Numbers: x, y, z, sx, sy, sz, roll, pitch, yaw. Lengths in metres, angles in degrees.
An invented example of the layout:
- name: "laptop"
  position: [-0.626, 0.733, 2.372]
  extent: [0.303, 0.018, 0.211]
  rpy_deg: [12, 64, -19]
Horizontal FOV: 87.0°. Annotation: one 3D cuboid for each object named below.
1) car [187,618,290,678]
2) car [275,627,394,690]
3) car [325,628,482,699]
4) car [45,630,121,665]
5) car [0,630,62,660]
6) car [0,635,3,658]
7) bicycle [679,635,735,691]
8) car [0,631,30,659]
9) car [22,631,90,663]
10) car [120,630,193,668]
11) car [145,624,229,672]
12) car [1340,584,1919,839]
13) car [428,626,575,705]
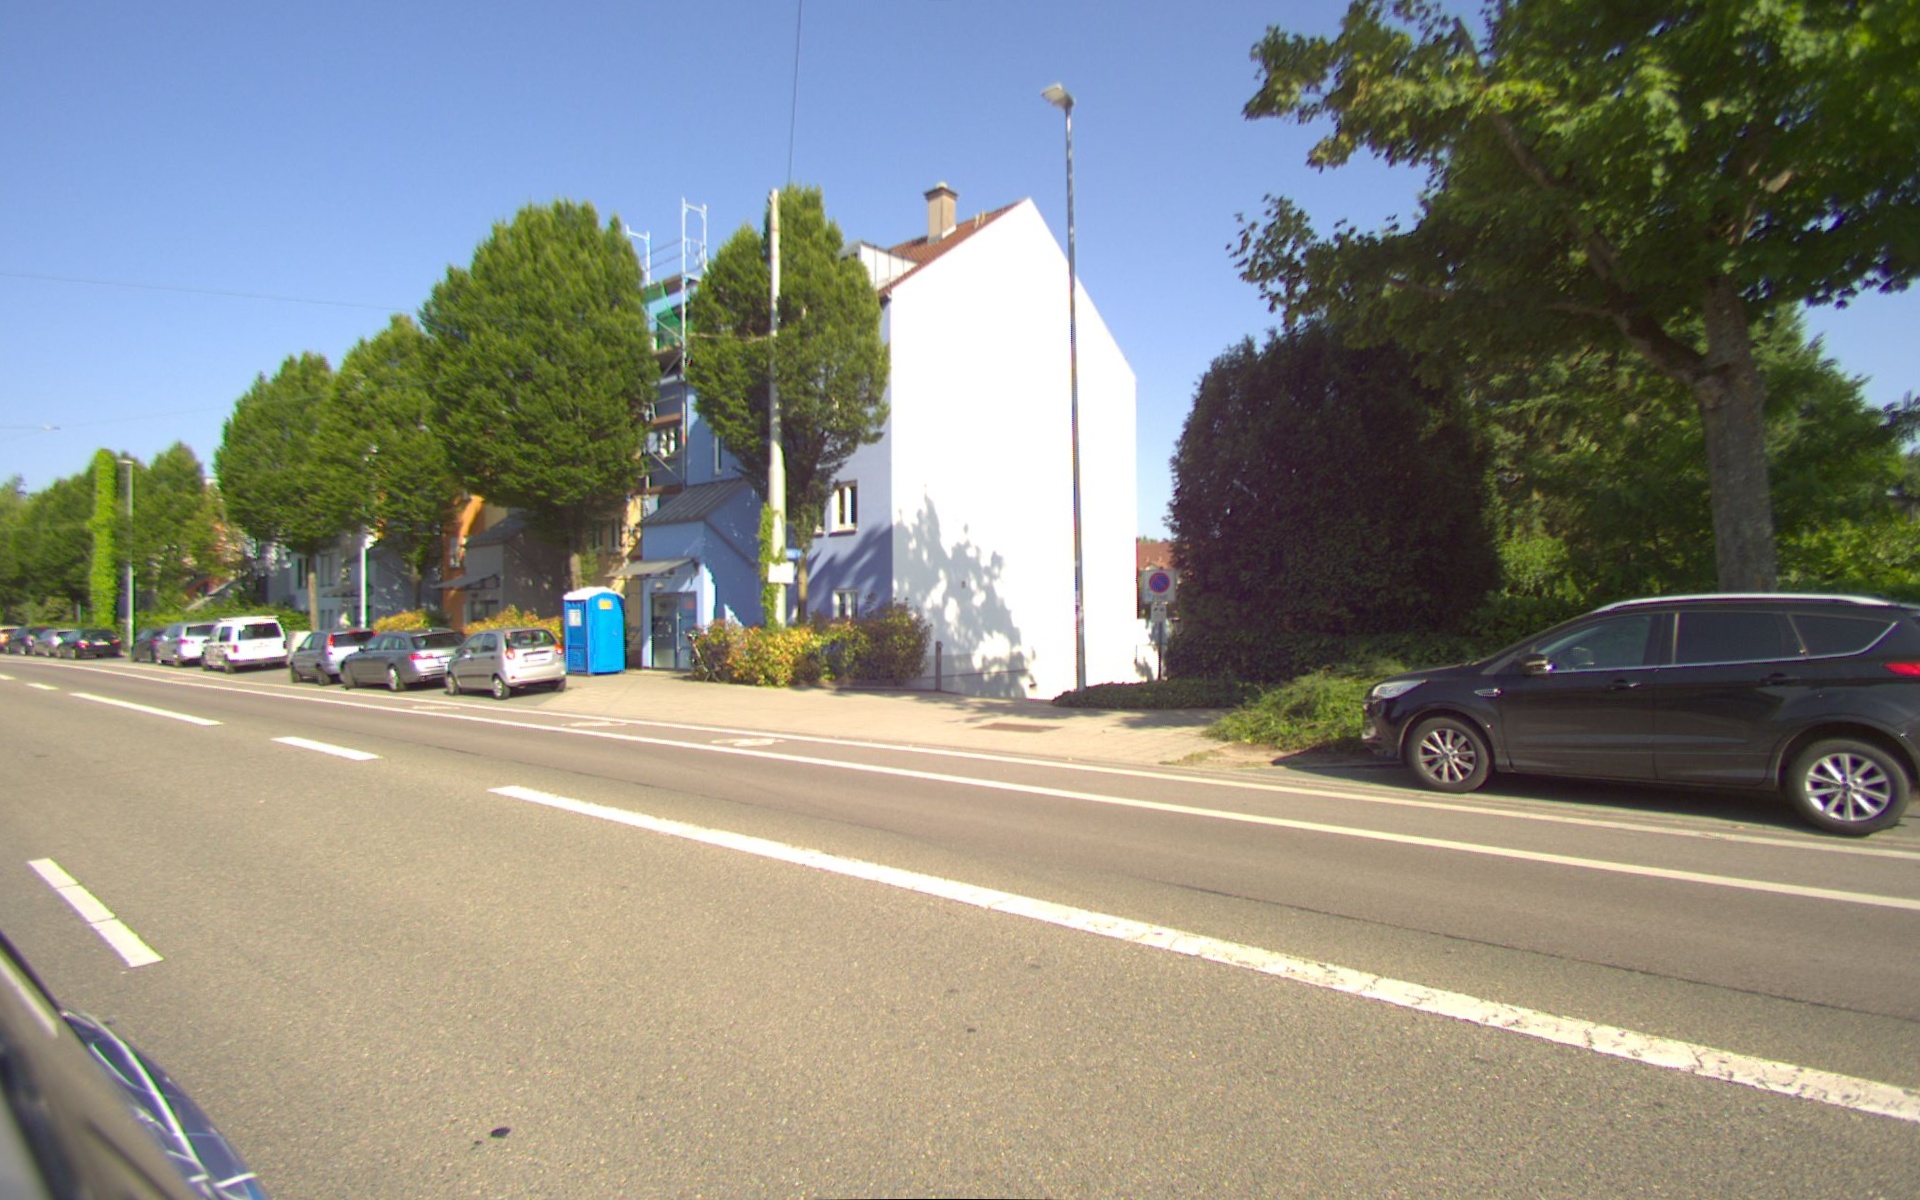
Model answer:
- name: "car"
  position: [-25.689, 1.677, 35.988]
  extent: [4.575, 1.859, 1.746]
  rpy_deg: [-2, 3, 39]
- name: "car"
  position: [-18.135, 1.639, 29.293]
  extent: [3.979, 1.550, 1.745]
  rpy_deg: [-1, 3, 41]
- name: "car"
  position: [-14.292, 1.555, 25.873]
  extent: [4.749, 1.522, 1.733]
  rpy_deg: [-2, 3, 38]
- name: "car"
  position: [-43.622, 2.340, 50.325]
  extent: [4.901, 1.556, 1.849]
  rpy_deg: [-2, 1, 37]
- name: "car"
  position: [-52.620, 2.529, 57.038]
  extent: [4.420, 1.586, 1.750]
  rpy_deg: [-1, 0, 31]
- name: "car"
  position: [-61.794, 2.932, 63.451]
  extent: [4.700, 1.435, 1.638]
  rpy_deg: [-2, -2, 34]
- name: "bicycle"
  position: [-5.709, 1.396, 22.774]
  extent: [0.438, 1.163, 1.786]
  rpy_deg: [1, -1, -42]
- name: "car"
  position: [-57.376, 2.689, 60.486]
  extent: [4.151, 1.586, 1.748]
  rpy_deg: [-1, -1, 34]
- name: "car"
  position: [-48.230, 2.487, 53.971]
  extent: [4.834, 1.482, 1.697]
  rpy_deg: [-1, 1, 35]
- name: "car"
  position: [-34.570, 2.071, 43.505]
  extent: [4.053, 1.477, 1.600]
  rpy_deg: [-2, 0, 39]
- name: "car"
  position: [-30.504, 1.851, 39.881]
  extent: [4.821, 1.713, 1.651]
  rpy_deg: [-2, 0, 41]
- name: "car"
  position: [5.736, 0.794, 8.528]
  extent: [4.420, 1.707, 1.694]
  rpy_deg: [-2, -2, 41]
- name: "car"
  position: [-10.354, 1.420, 22.754]
  extent: [3.506, 1.505, 1.585]
  rpy_deg: [-2, 3, 40]
